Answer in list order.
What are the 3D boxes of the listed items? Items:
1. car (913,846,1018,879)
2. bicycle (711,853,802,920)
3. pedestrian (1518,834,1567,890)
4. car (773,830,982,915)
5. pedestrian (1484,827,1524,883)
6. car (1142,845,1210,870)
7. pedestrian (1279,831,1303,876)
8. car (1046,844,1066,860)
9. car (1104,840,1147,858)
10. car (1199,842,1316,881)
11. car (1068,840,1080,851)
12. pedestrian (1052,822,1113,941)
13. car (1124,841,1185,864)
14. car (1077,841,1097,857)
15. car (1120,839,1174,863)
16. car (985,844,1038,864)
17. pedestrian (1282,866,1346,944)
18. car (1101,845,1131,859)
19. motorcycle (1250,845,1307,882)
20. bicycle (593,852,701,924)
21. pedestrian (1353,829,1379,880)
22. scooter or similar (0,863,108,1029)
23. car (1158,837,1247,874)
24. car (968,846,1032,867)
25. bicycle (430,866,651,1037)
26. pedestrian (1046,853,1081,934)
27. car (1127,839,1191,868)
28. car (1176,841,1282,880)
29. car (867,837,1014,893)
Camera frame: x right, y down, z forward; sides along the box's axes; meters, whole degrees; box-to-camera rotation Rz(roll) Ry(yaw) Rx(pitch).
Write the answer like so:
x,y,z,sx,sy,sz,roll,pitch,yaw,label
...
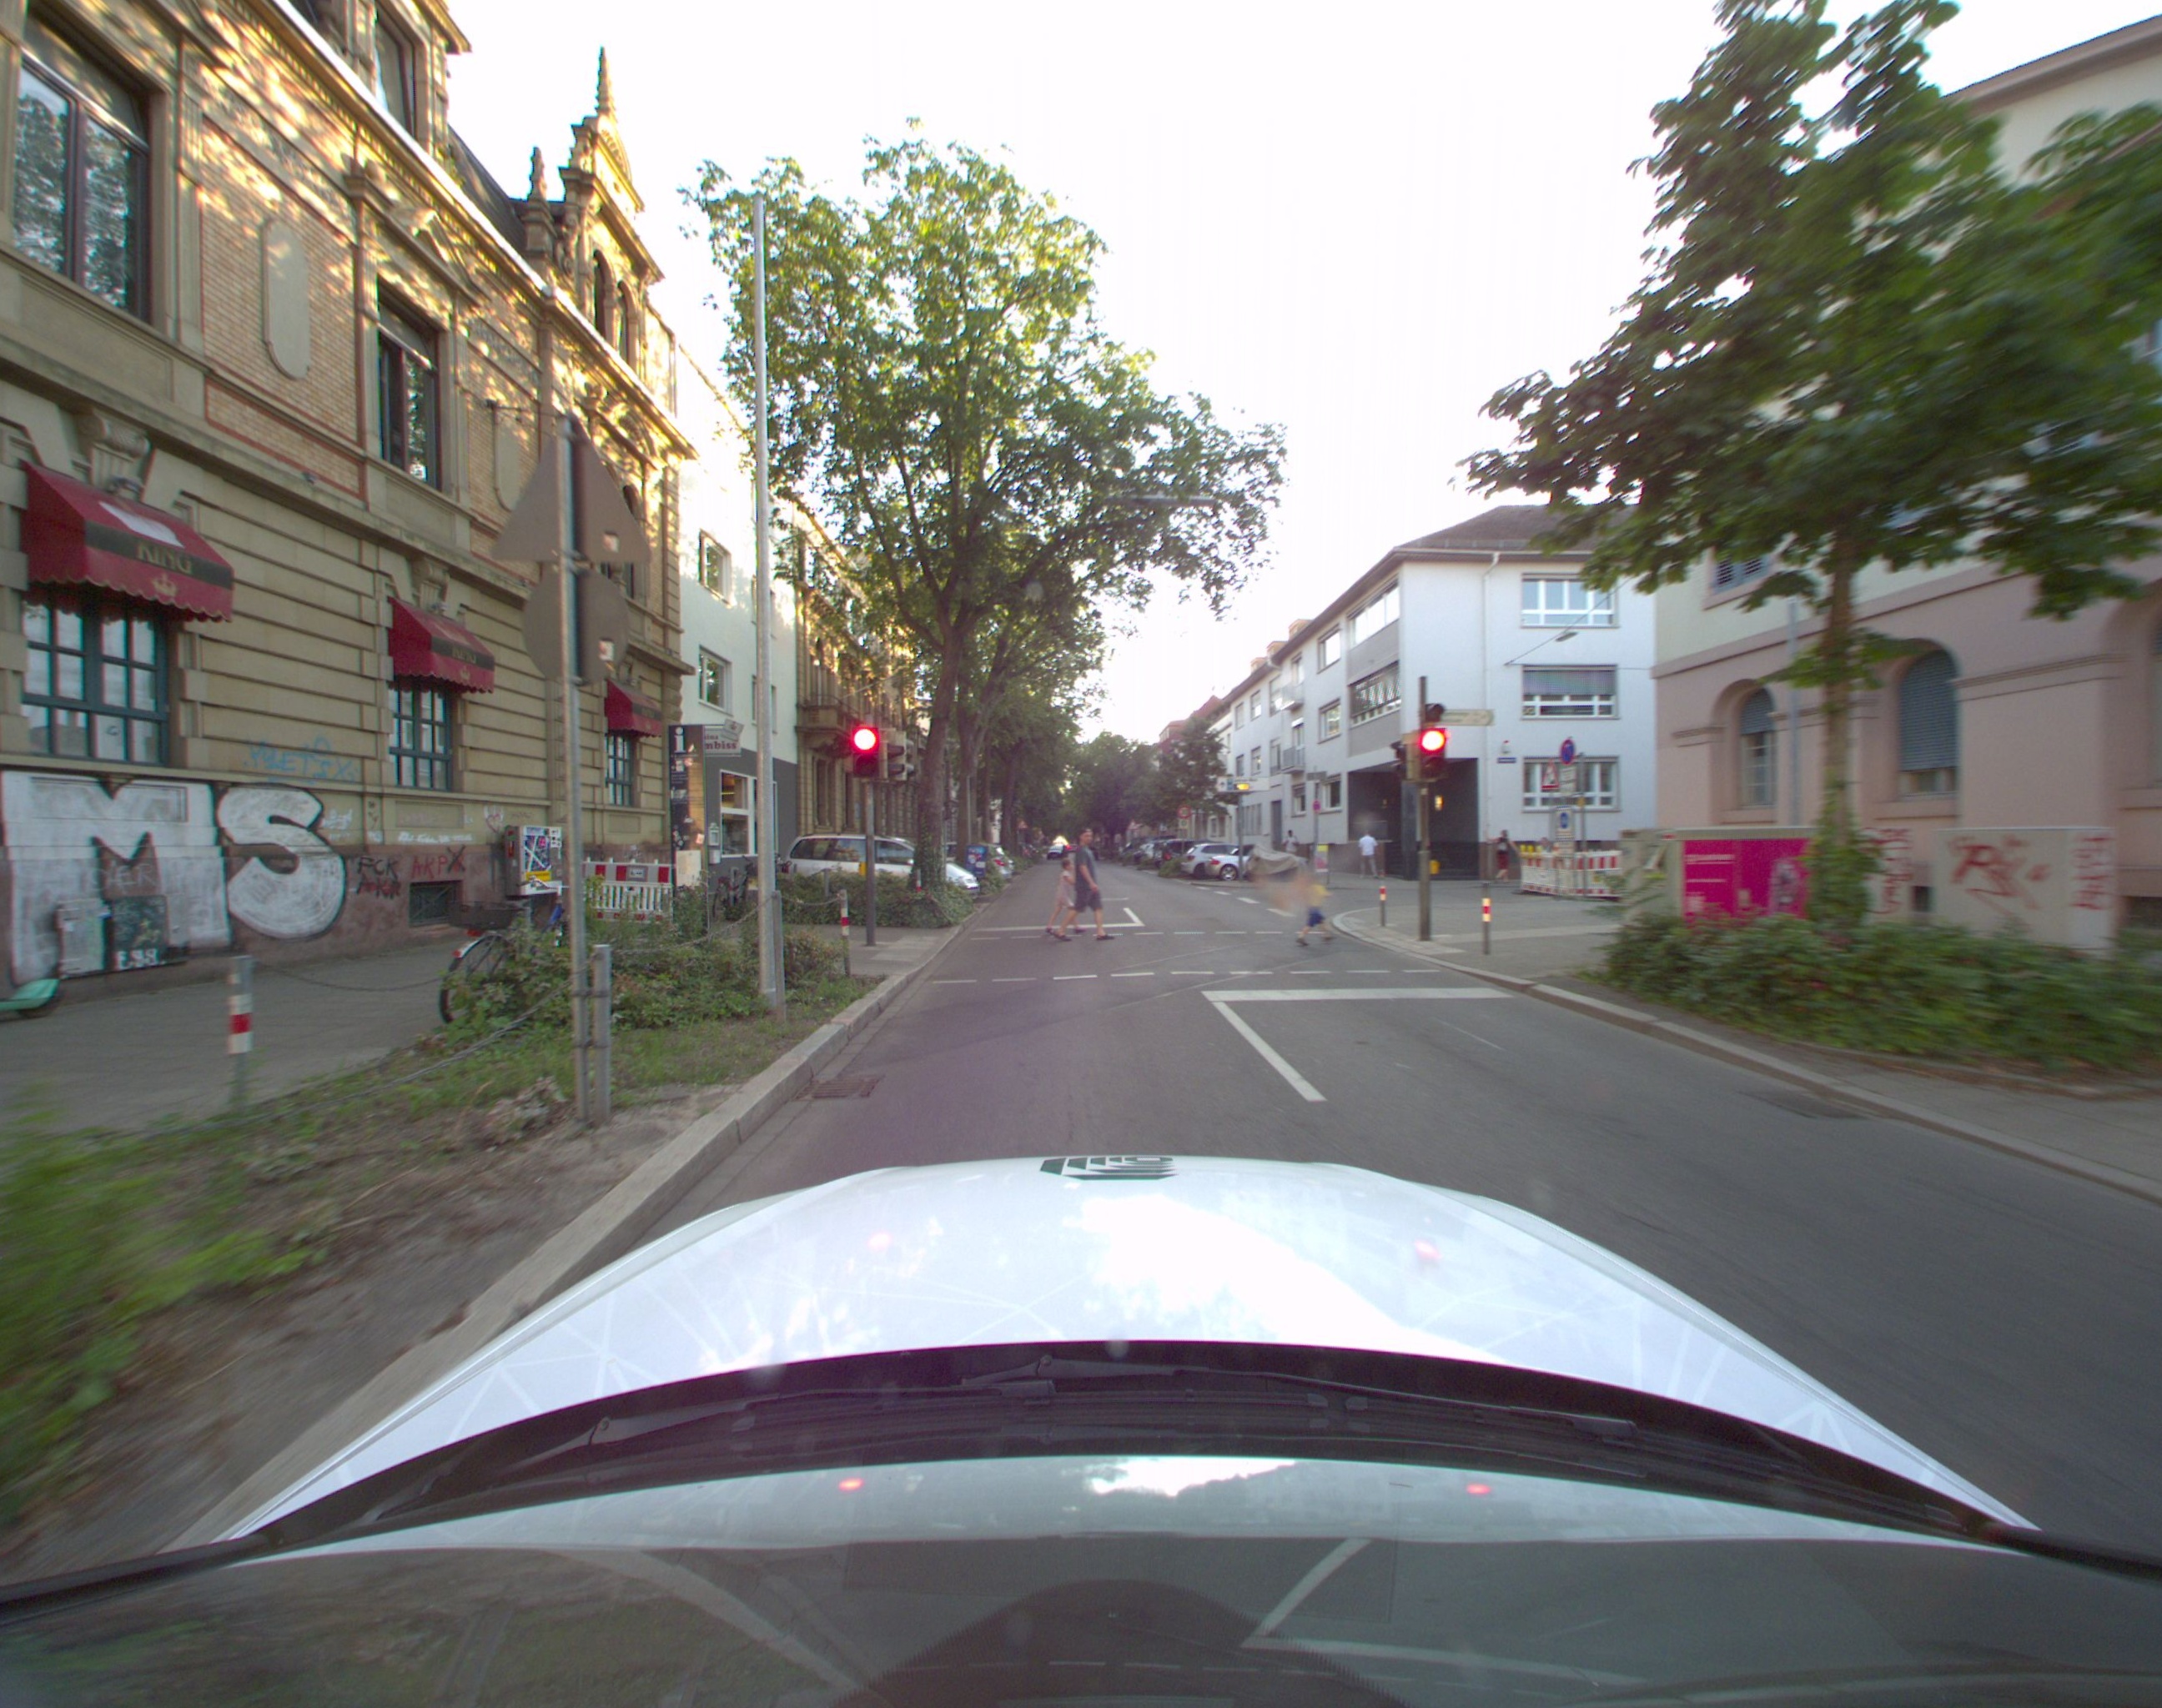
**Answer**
x,y,z,sx,sy,sz,roll,pitch,yaw,label
-5.214,0.373,37.299,4.535,1.372,1.832,-1,1,-2,car
-6.278,0.582,15.942,0.732,1.186,2.633,1,1,-1,bicycle
13.006,0.221,22.973,0.974,1.557,0.701,0,1,-2,pedestrian
-4.726,0.406,19.477,4.540,1.834,1.830,-1,1,-5,car
13.386,0.017,25.779,0.766,1.751,0.933,0,1,-1,pedestrian
5.902,0.216,50.945,4.004,1.409,1.706,-1,1,-2,car
8.763,-0.022,33.987,0.765,1.841,0.943,0,1,-1,pedestrian
-2.572,-0.236,83.782,1.900,1.577,3.986,0,0,-4,car
4.287,-0.479,78.352,4.004,1.601,1.706,-1,0,-2,car
6.602,0.252,30.660,4.003,1.342,1.706,-1,1,-2,car
-1.119,-1.410,135.432,1.919,1.659,3.997,-1,1,-2,car
0.040,0.418,12.940,0.884,1.815,0.794,-1,1,3,pedestrian
5.044,-0.086,56.039,4.004,1.530,1.706,-1,0,-2,car
0.579,-0.523,80.974,1.821,1.561,4.024,1,1,-3,car
5.116,-0.239,63.391,4.004,1.830,1.706,-1,0,-2,car
-6.079,-0.006,71.983,4.535,1.691,1.832,-1,1,-2,car
3.479,0.754,12.202,0.831,1.121,0.568,0,1,3,pedestrian
4.726,-0.299,111.069,4.004,1.830,1.706,-1,0,-2,car
6.651,0.309,27.455,1.790,1.199,0.614,-1,0,7,motorcycle
-8.097,0.587,15.362,0.634,1.201,2.563,-1,1,0,bicycle
9.910,0.008,28.320,0.701,1.751,0.700,0,1,2,pedestrian
-7.922,0.662,5.748,0.435,1.168,1.291,1,1,10,scooter or similar
5.851,0.059,39.548,4.004,1.690,1.706,-1,0,-2,car
-5.902,0.184,59.789,4.535,1.409,1.832,-1,1,-2,car
-4.415,0.716,6.872,0.509,1.153,2.100,1,1,-2,bicycle
-0.293,0.654,13.773,0.537,1.335,0.507,0,1,3,pedestrian
5.065,-0.045,53.249,4.004,1.815,1.706,-1,0,-2,car
6.003,0.241,33.268,4.004,1.442,1.706,-1,1,-2,car
-4.568,0.345,27.033,4.535,1.688,1.832,-1,1,-2,car
